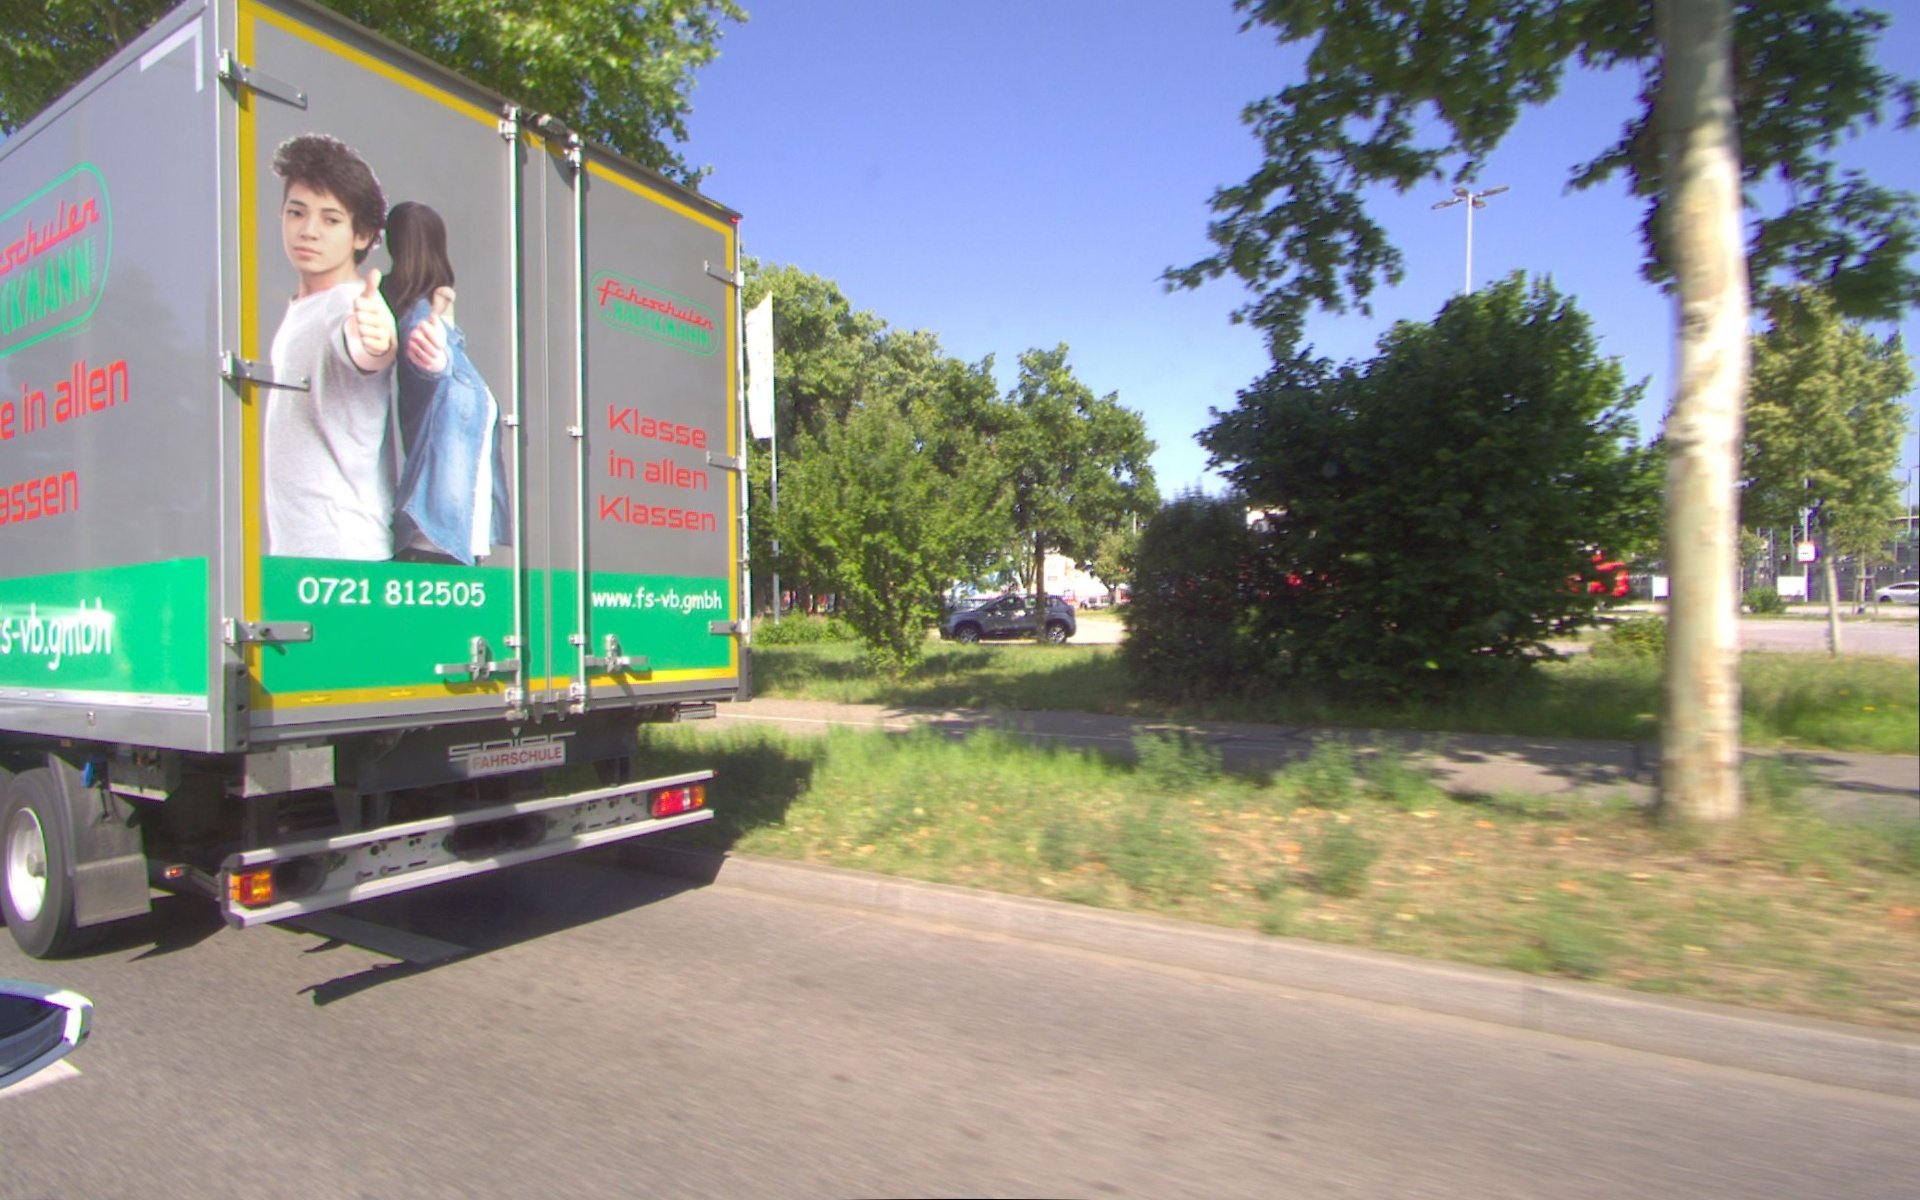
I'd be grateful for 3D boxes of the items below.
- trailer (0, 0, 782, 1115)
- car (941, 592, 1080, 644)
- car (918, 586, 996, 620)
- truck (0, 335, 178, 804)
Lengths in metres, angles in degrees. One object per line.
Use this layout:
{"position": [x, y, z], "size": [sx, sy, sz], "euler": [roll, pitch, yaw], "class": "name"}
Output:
{"position": [-4.899, -0.332, 6.210], "size": [7.627, 3.927, 2.730], "euler": [-2, 0, 33], "class": "trailer"}
{"position": [1.421, 0.551, 29.396], "size": [3.922, 1.438, 1.907], "euler": [0, -2, -1], "class": "car"}
{"position": [-0.121, 0.173, 52.589], "size": [3.922, 1.705, 2.001], "euler": [-1, -2, 6], "class": "car"}
{"position": [-11.720, -0.151, 10.659], "size": [8.602, 3.940, 2.723], "euler": [-2, -1, 33], "class": "truck"}
